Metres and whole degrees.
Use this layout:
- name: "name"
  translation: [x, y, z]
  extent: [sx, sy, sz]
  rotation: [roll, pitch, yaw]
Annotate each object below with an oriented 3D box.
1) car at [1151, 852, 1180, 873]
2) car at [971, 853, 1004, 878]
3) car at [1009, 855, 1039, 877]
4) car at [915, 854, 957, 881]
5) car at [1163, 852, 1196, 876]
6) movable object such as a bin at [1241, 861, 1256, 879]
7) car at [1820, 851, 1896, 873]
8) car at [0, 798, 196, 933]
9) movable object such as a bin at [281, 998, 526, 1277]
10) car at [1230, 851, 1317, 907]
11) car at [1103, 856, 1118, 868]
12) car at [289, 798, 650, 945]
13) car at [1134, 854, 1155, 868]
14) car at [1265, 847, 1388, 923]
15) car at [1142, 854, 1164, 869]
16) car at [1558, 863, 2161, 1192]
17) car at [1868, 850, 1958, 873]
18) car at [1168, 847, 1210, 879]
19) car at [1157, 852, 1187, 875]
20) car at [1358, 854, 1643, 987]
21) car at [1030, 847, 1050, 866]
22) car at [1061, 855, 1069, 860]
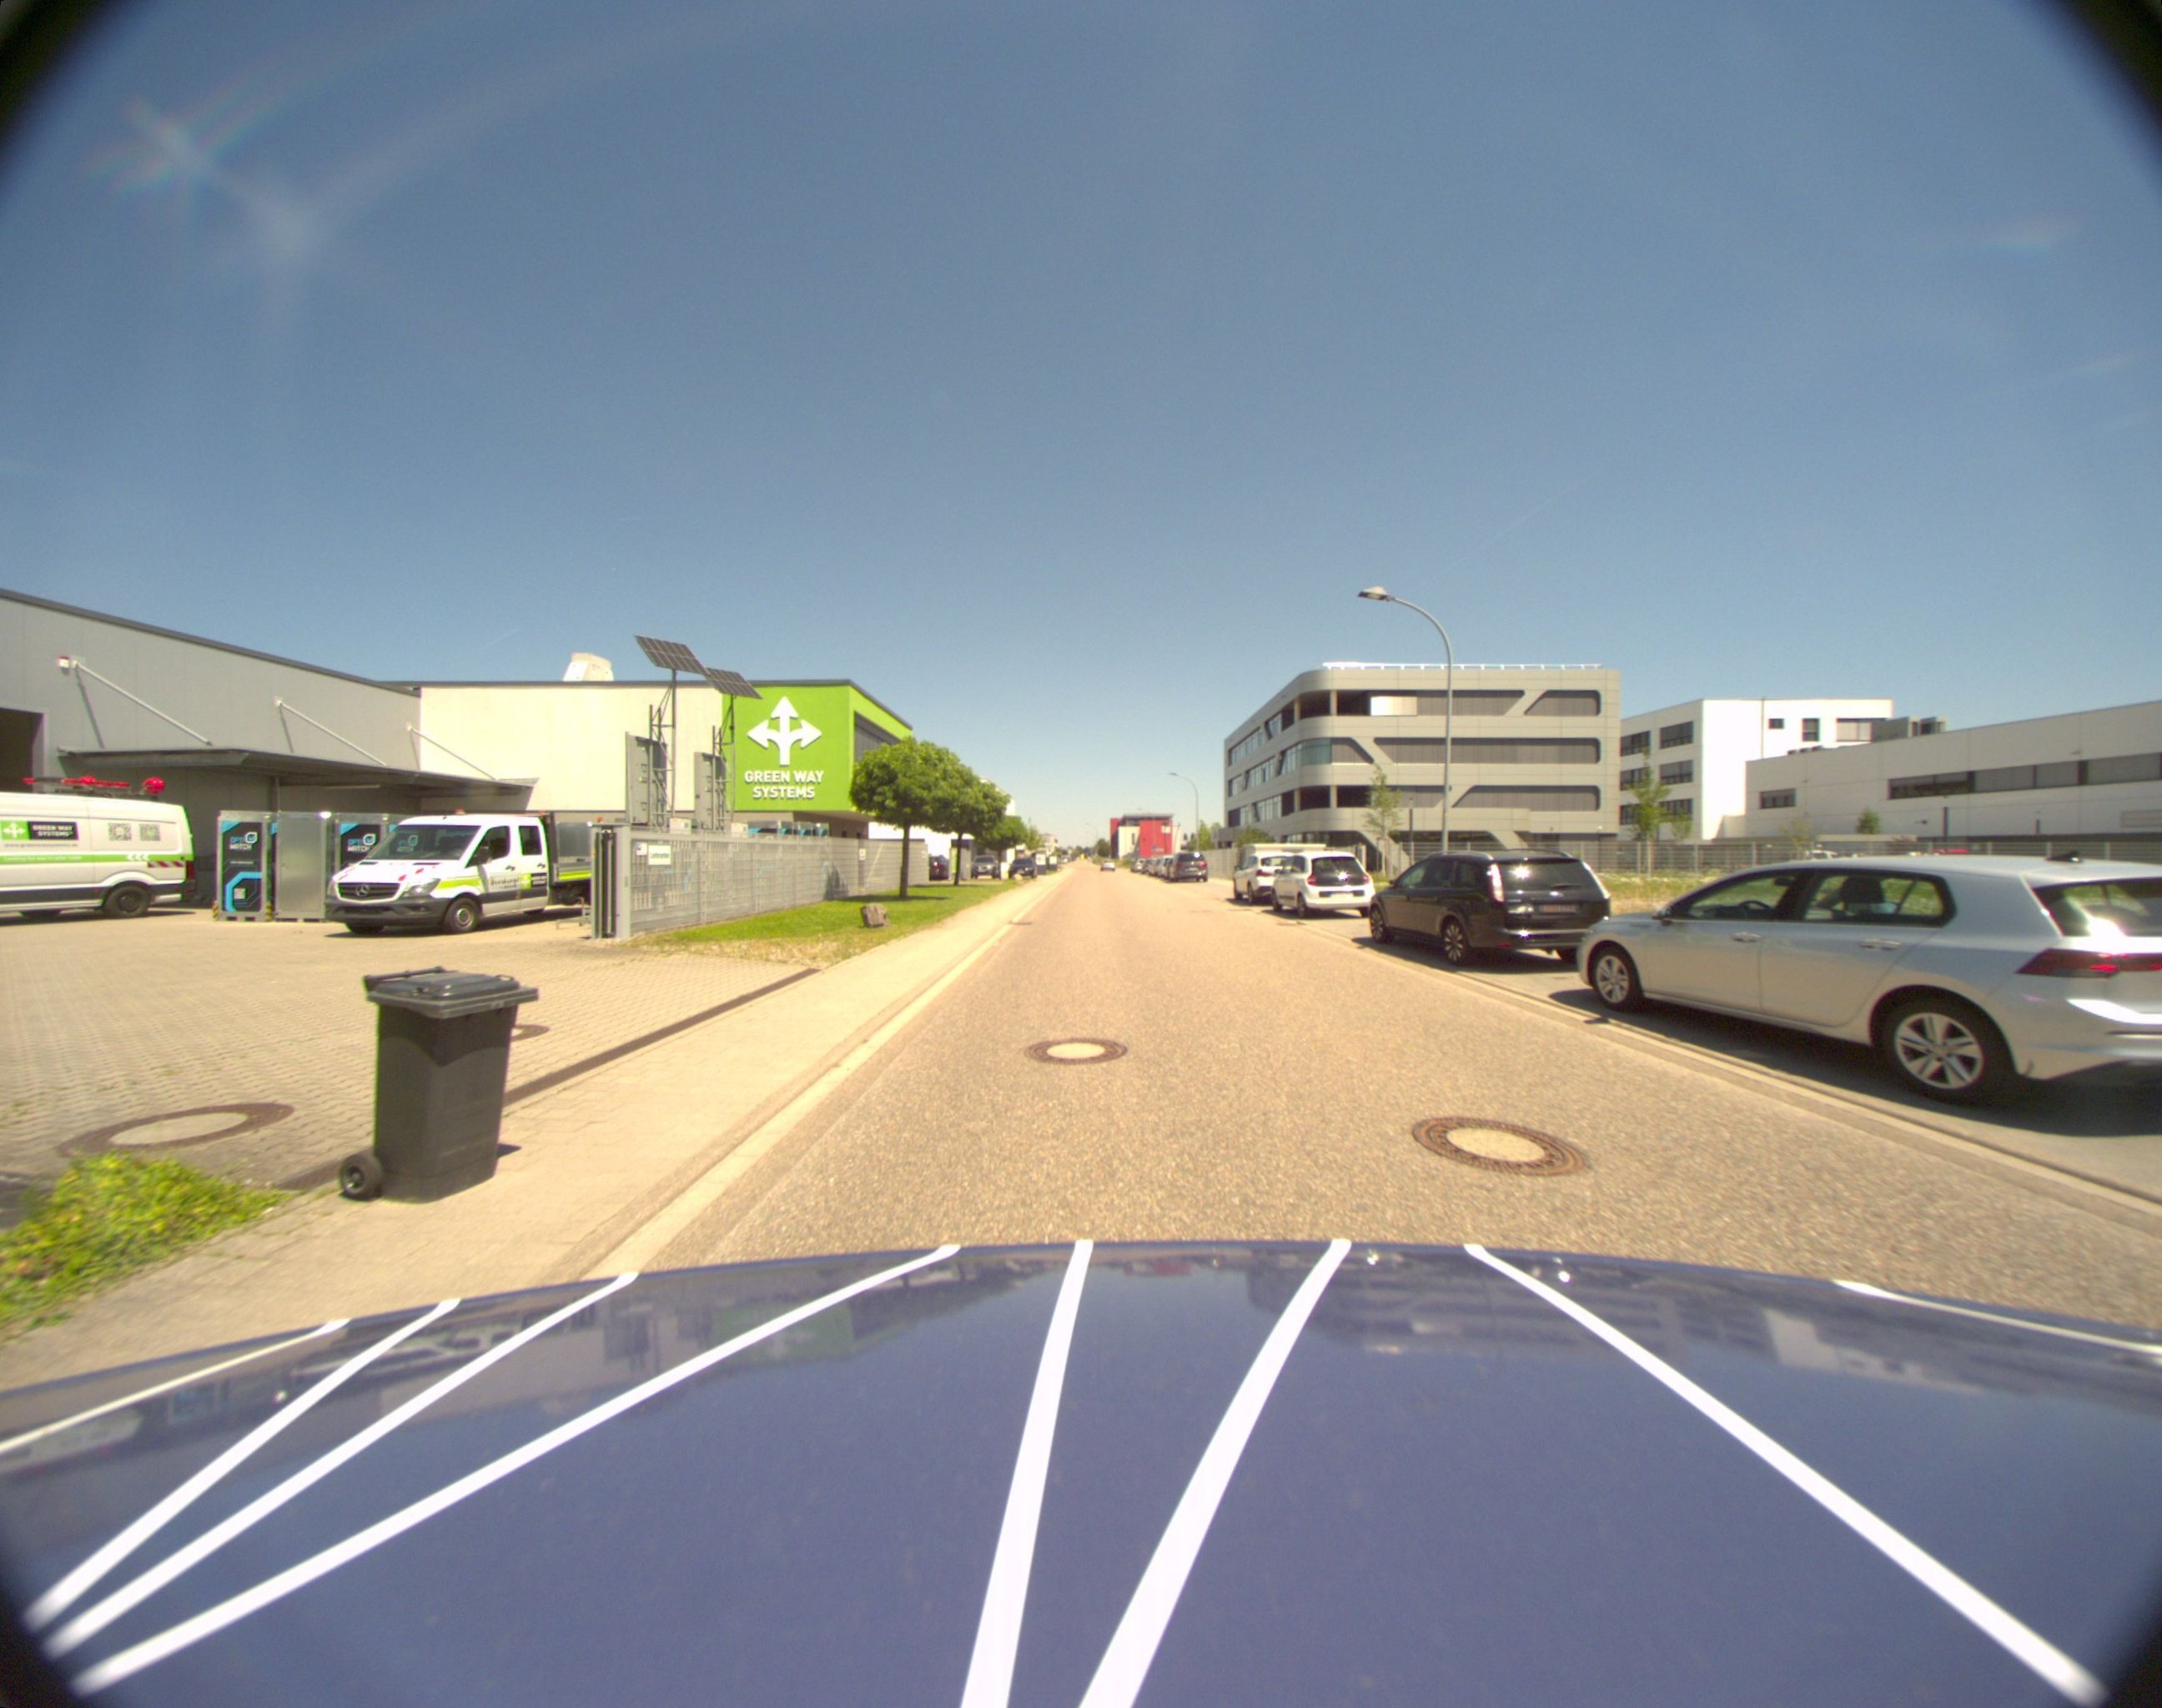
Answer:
- name: "car"
  translation: [6.608, 0.615, 59.693]
  extent: [1.707, 1.527, 4.572]
  rotation: [-1, 0, 0]
- name: "car"
  translation: [-6.410, 0.754, 52.566]
  extent: [1.727, 1.623, 4.022]
  rotation: [-1, 0, 1]
- name: "car"
  translation: [-3.899, 0.808, 52.482]
  extent: [1.696, 1.419, 4.246]
  rotation: [-1, 0, 1]
- name: "car"
  translation: [-8.592, 0.756, 45.315]
  extent: [1.742, 1.390, 4.053]
  rotation: [0, 2, 0]
- name: "car"
  translation: [6.332, 0.623, 49.171]
  extent: [1.638, 1.491, 3.972]
  rotation: [-1, 0, 2]
- name: "movable object such as a bin"
  translation: [8.901, 0.824, 40.346]
  extent: [0.601, 0.940, 0.517]
  rotation: [-1, 0, 41]
- name: "car"
  translation: [58.102, 0.576, 56.869]
  extent: [3.999, 1.576, 1.921]
  rotation: [0, 0, -6]
- name: "car"
  translation: [-21.017, 0.178, 14.163]
  extent: [2.135, 2.480, 5.860]
  rotation: [2, 0, 1]
- name: "movable object such as a bin"
  translation: [-2.835, 1.146, 3.214]
  extent: [0.553, 0.923, 0.522]
  rotation: [4, 2, 11]
- name: "car"
  translation: [5.877, 0.702, 23.728]
  extent: [1.791, 1.533, 4.365]
  rotation: [-1, 0, 3]
- name: "car"
  translation: [3.643, 0.993, 94.906]
  extent: [1.708, 1.403, 4.785]
  rotation: [1, -1, 1]
- name: "car"
  translation: [-12.575, 0.287, 16.658]
  extent: [2.135, 2.480, 7.025]
  rotation: [2, 0, 1]
- name: "car"
  translation: [6.631, 0.749, 79.900]
  extent: [1.704, 1.378, 3.937]
  rotation: [-1, 0, -2]
- name: "car"
  translation: [5.916, 0.682, 18.757]
  extent: [1.791, 1.647, 3.768]
  rotation: [-1, 0, 0]
- name: "car"
  translation: [6.699, 0.718, 71.124]
  extent: [1.688, 1.378, 4.640]
  rotation: [-1, 0, 1]
- name: "car"
  translation: [5.863, 0.852, 5.735]
  extent: [1.768, 1.442, 4.199]
  rotation: [-1, 0, -2]
- name: "car"
  translation: [56.847, 0.508, 51.989]
  extent: [3.997, 1.576, 1.922]
  rotation: [0, 0, 1]
- name: "car"
  translation: [6.169, 0.508, 43.878]
  extent: [1.807, 1.709, 4.622]
  rotation: [-1, 0, 1]
- name: "car"
  translation: [6.447, 0.637, 54.092]
  extent: [1.639, 1.527, 3.657]
  rotation: [-1, 0, 0]
- name: "car"
  translation: [5.741, 0.784, 11.144]
  extent: [1.767, 1.508, 4.379]
  rotation: [-1, 0, 0]
- name: "car"
  translation: [-4.705, 0.277, 88.261]
  extent: [1.999, 2.001, 5.801]
  rotation: [0, -2, -1]
- name: "car"
  translation: [-3.944, 0.921, 185.591]
  extent: [1.828, 1.269, 3.886]
  rotation: [0, 0, 1]
